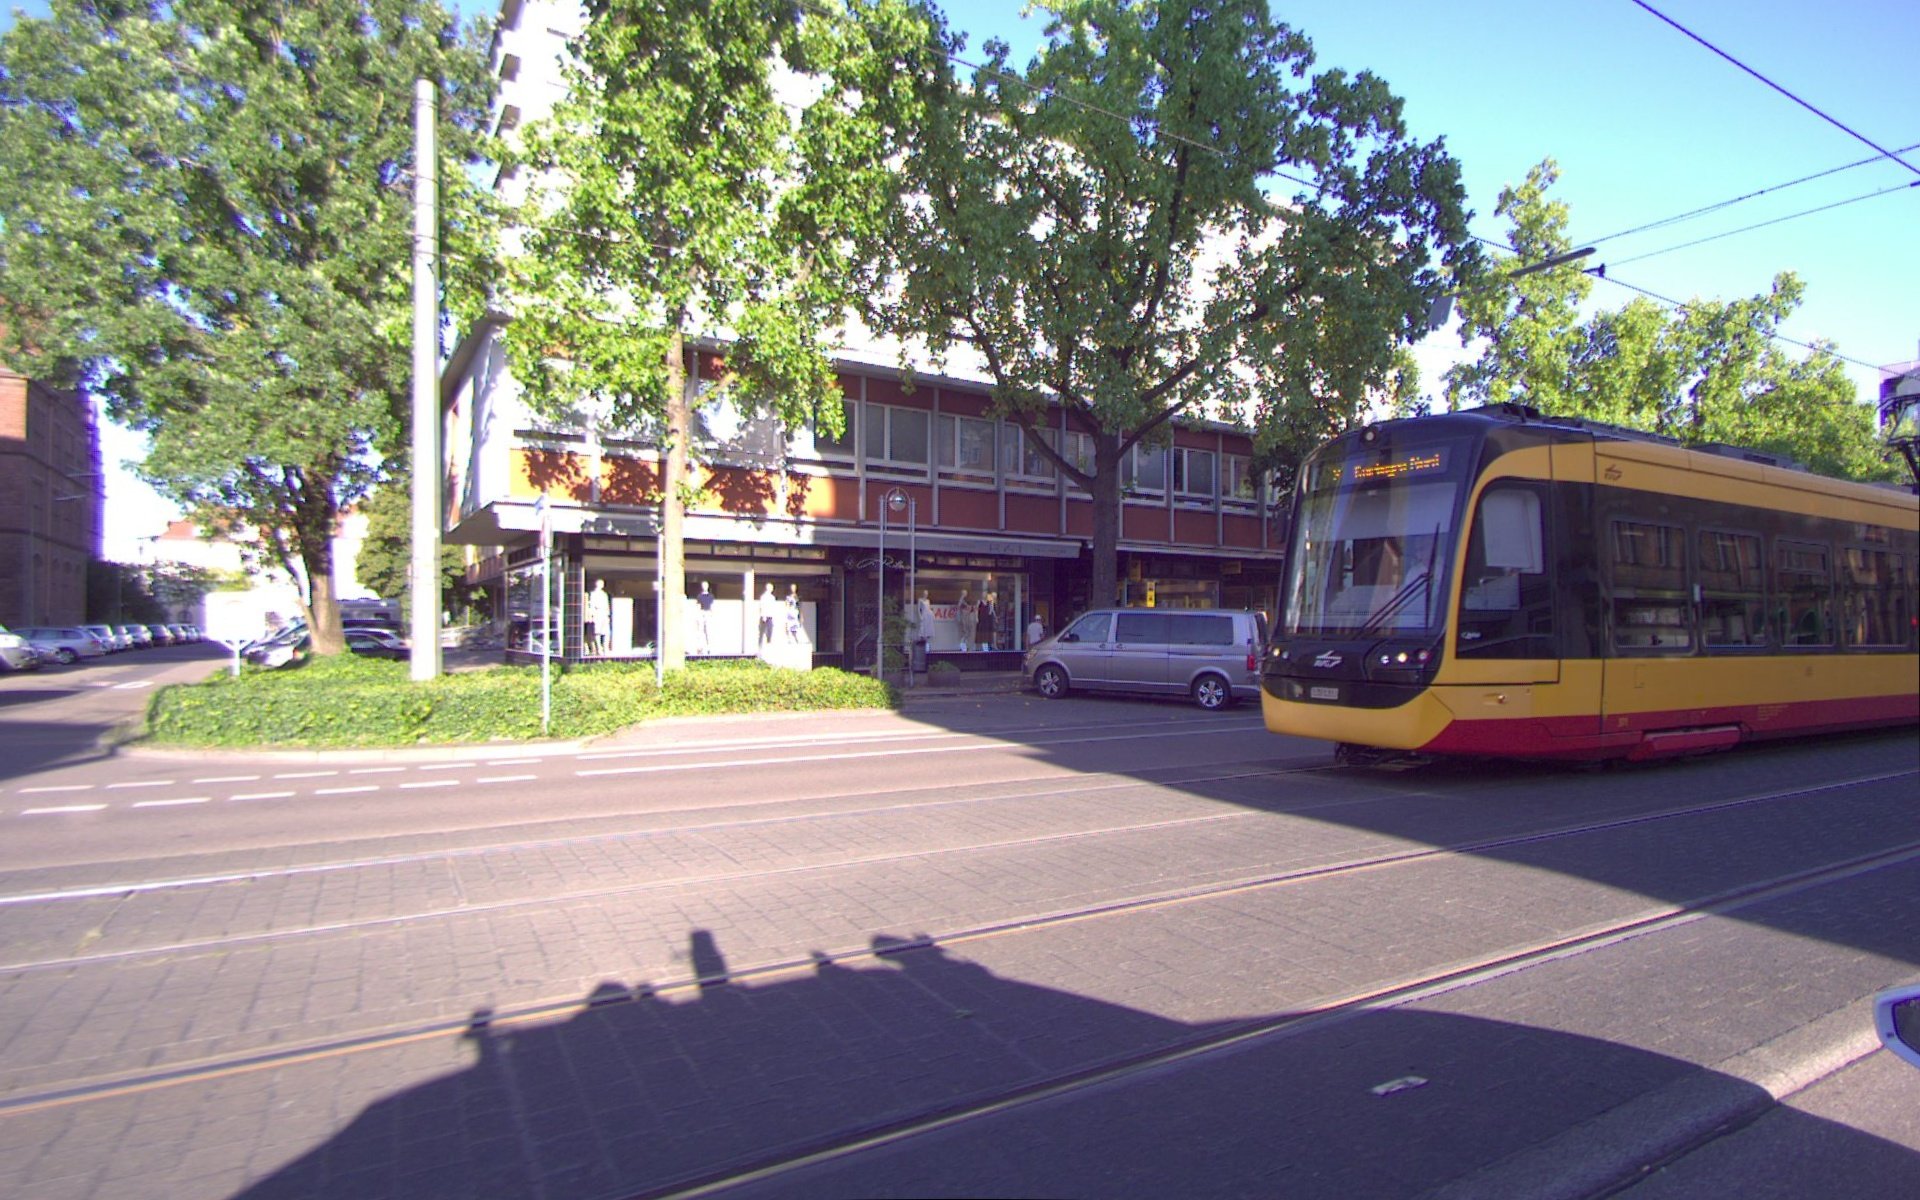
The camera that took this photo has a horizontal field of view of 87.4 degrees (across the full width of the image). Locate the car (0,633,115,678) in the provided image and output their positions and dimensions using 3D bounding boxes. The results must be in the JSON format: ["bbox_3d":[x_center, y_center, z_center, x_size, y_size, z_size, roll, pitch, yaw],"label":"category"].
[{"bbox_3d":[-36.544,2.184,40.025,4.257,1.694,1.837,1,-1,-37],"label":"car"}]

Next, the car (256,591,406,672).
[{"bbox_3d":[-28.542,1.489,45.837,5.569,3.455,2.125,3,-3,-31],"label":"car"}]

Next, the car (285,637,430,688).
[{"bbox_3d":[-20.187,2.054,33.809,4.055,1.598,2.021,2,-2,-32],"label":"car"}]

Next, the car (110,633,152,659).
[{"bbox_3d":[-53.516,2.920,64.885,1.839,1.564,3.986,1,-1,-36],"label":"car"}]

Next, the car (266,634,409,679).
[{"bbox_3d":[-23.196,2.085,37.591,4.413,1.598,2.035,2,-2,-32],"label":"car"}]

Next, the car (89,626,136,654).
[{"bbox_3d":[-50.642,2.372,60.093,1.839,1.564,3.986,1,-1,-36],"label":"car"}]

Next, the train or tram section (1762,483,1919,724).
[{"bbox_3d":[18.734,0.196,18.337,10.997,3.597,2.663,2,-2,-31],"label":"train or tram section"}]

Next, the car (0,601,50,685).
[{"bbox_3d":[-31.427,1.304,30.462,5.356,2.577,1.840,1,-1,-33],"label":"car"}]

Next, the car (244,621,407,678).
[{"bbox_3d":[-24.693,1.906,39.315,5.214,2.072,2.035,2,-2,-32],"label":"car"}]

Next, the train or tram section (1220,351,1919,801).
[{"bbox_3d":[8.666,-0.018,12.370,12.322,3.597,2.745,2,-2,-31],"label":"train or tram section"}]

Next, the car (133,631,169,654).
[{"bbox_3d":[-58.839,3.061,73.083,1.839,1.564,3.986,1,-1,-36],"label":"car"}]

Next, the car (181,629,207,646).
[{"bbox_3d":[-72.511,3.504,95.081,1.839,1.564,3.986,1,-1,-36],"label":"car"}]

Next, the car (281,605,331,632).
[{"bbox_3d":[-88.393,2.556,135.890,5.572,3.400,2.414,3,-3,-33],"label":"car"}]

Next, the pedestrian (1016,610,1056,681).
[{"bbox_3d":[2.095,1.244,27.582,0.901,1.902,0.900,0,-1,18],"label":"pedestrian"}]

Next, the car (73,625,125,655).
[{"bbox_3d":[-47.406,2.180,55.366,1.839,1.564,3.986,1,-1,-36],"label":"car"}]

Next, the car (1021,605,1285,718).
[{"bbox_3d":[3.960,1.177,20.880,5.029,1.954,1.851,2,0,29],"label":"car"}]

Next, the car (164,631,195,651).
[{"bbox_3d":[-63.774,3.304,82.084,1.839,1.564,3.986,1,-1,-36],"label":"car"}]

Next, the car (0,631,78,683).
[{"bbox_3d":[-32.543,1.898,33.633,4.250,1.694,1.840,1,-1,-33],"label":"car"}]

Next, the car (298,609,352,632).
[{"bbox_3d":[-85.166,2.780,134.827,5.986,2.881,2.551,3,-3,-33],"label":"car"}]
